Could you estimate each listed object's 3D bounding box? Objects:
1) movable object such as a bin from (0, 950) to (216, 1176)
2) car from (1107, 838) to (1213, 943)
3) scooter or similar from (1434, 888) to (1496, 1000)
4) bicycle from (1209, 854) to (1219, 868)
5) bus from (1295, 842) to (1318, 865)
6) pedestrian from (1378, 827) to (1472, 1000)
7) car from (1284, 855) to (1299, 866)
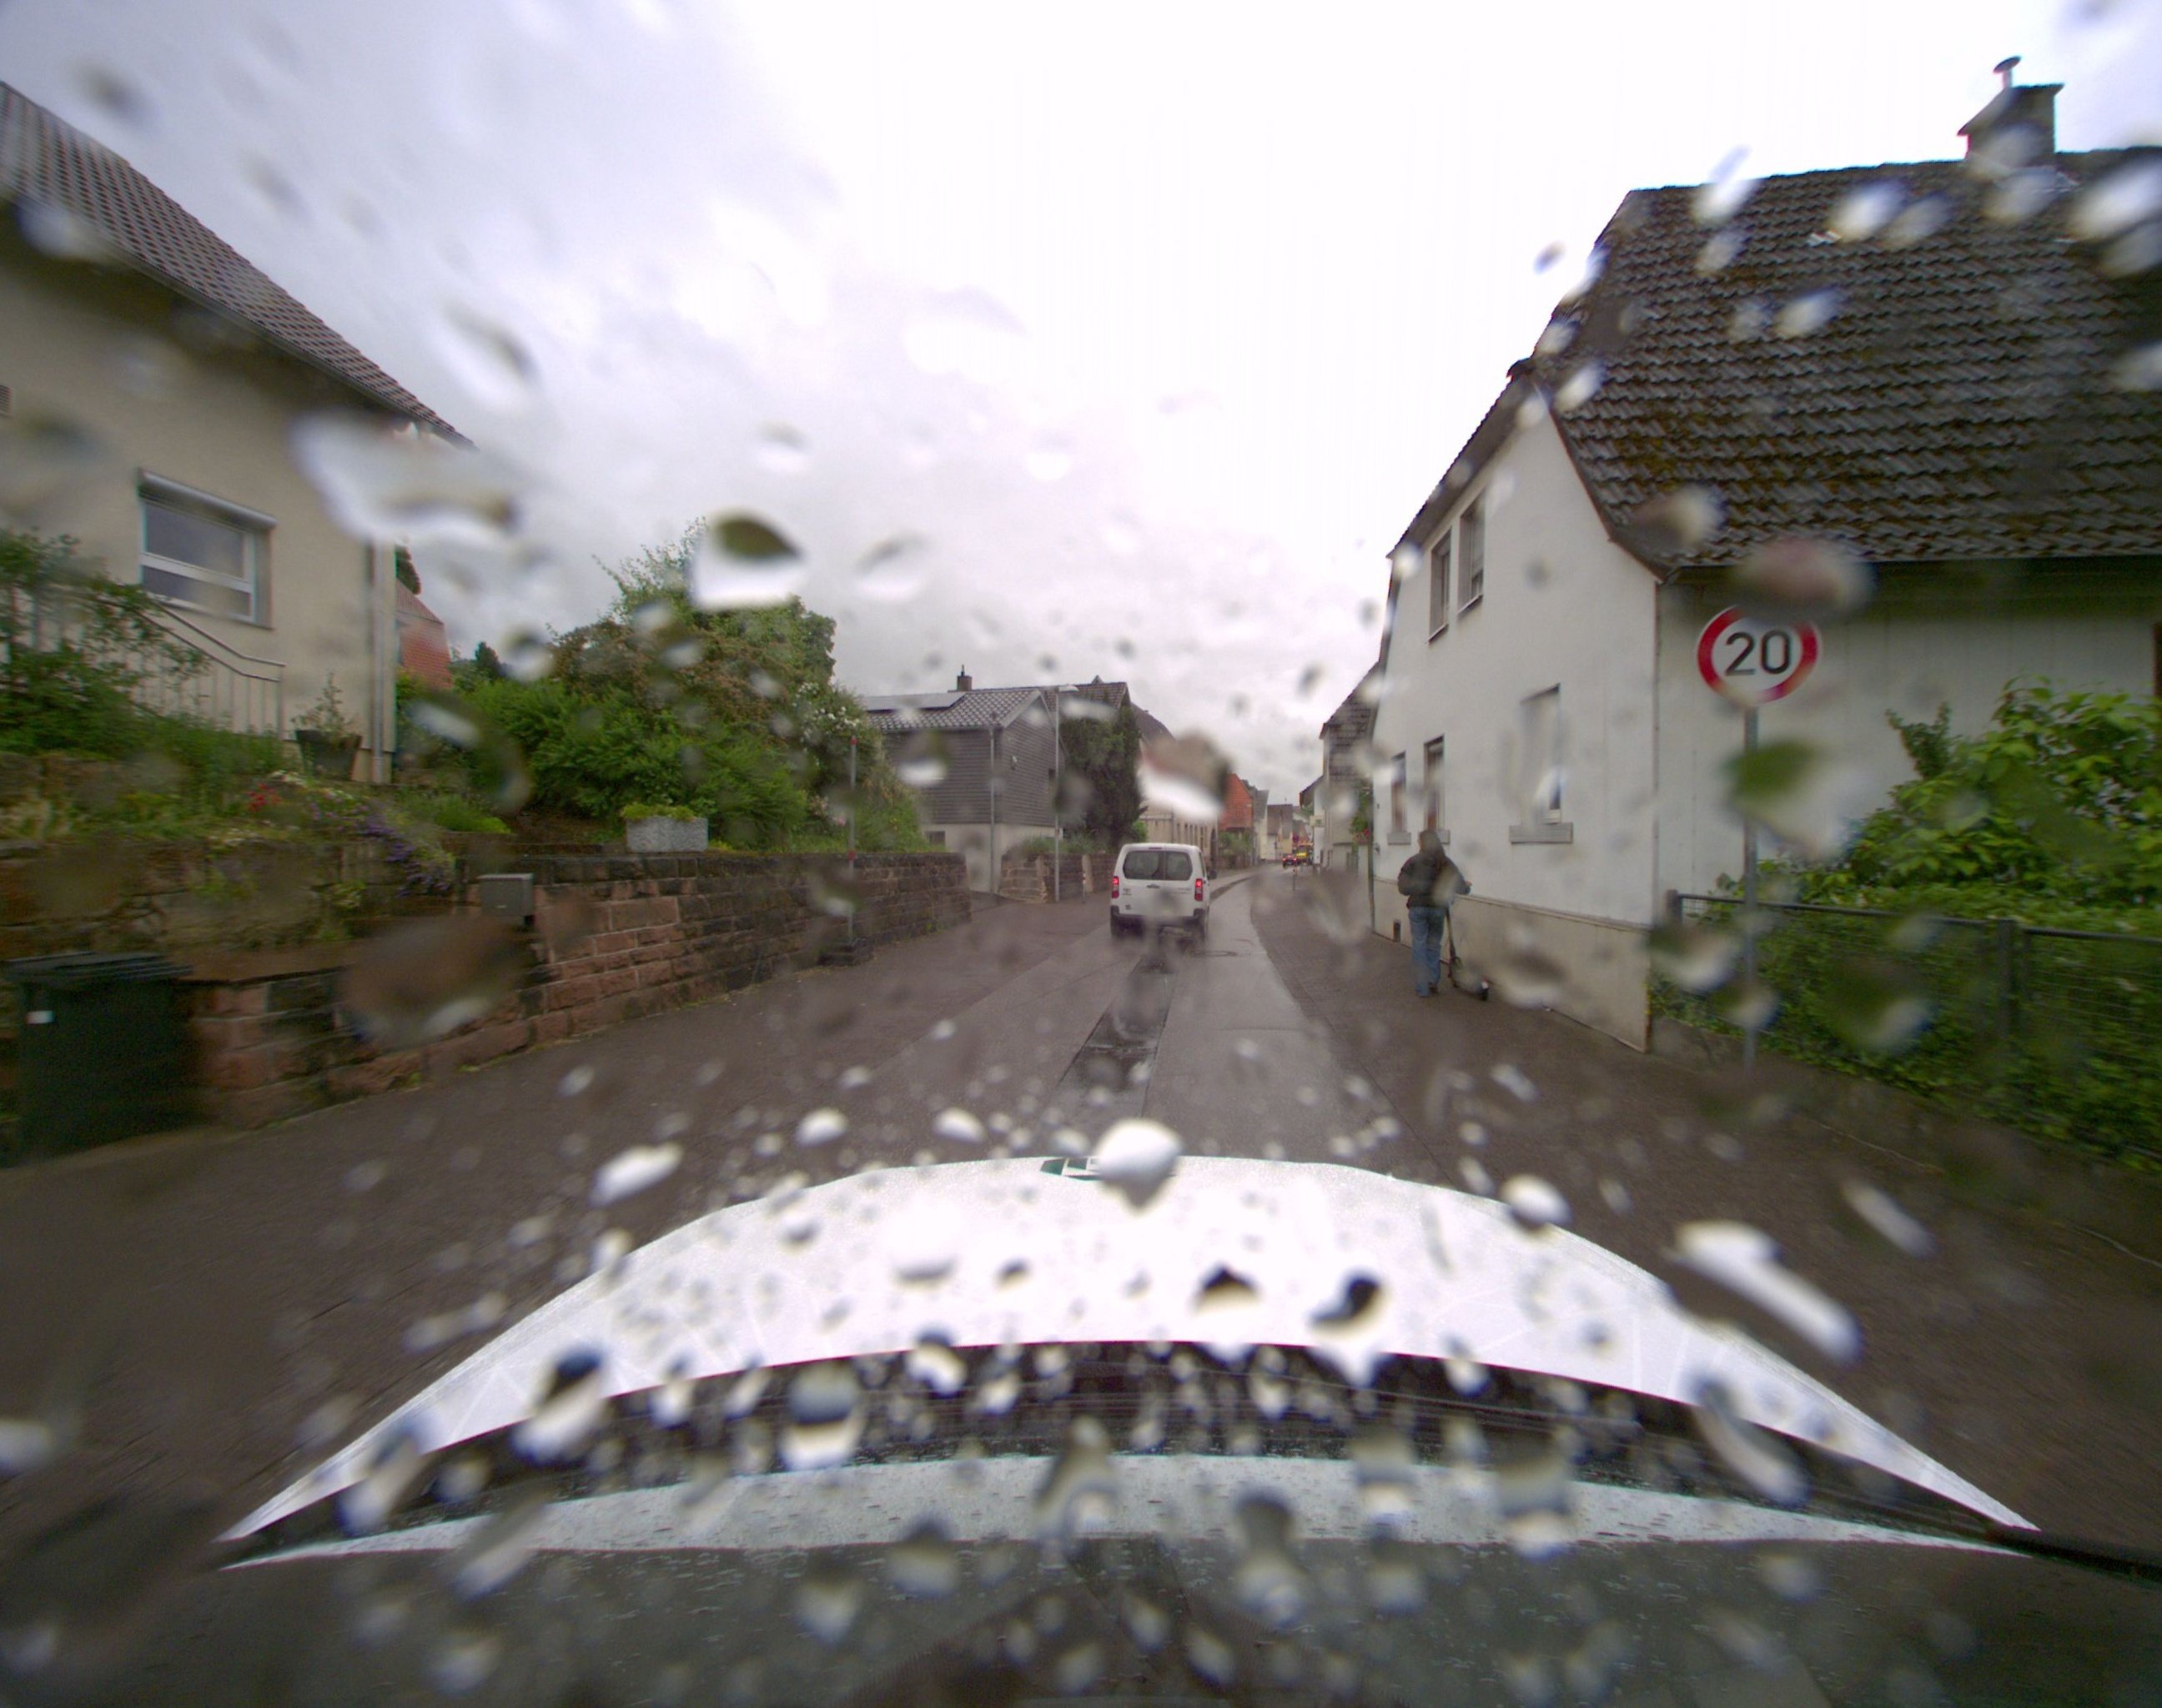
[{"bbox_3d":[-4.750,0.970,3.935,0.535,0.930,0.545,1,0,6],"label":"movable object such as a bin"},{"bbox_3d":[1.745,0.667,16.650,1.784,1.819,4.112,2,0,10],"label":"car"},{"bbox_3d":[4.019,0.912,8.562,0.244,1.028,1.103,2,1,8],"label":"scooter or similar"},{"bbox_3d":[11.186,0.592,68.255,0.479,1.180,1.844,1,0,20],"label":"bicycle"},{"bbox_3d":[32.696,-0.009,117.839,2.771,3.179,8.215,2,0,18],"label":"bus"},{"bbox_3d":[3.643,0.598,8.691,0.690,1.732,0.823,2,1,8],"label":"pedestrian"},{"bbox_3d":[27.290,0.838,105.588,1.549,1.371,3.601,1,0,18],"label":"car"}]
